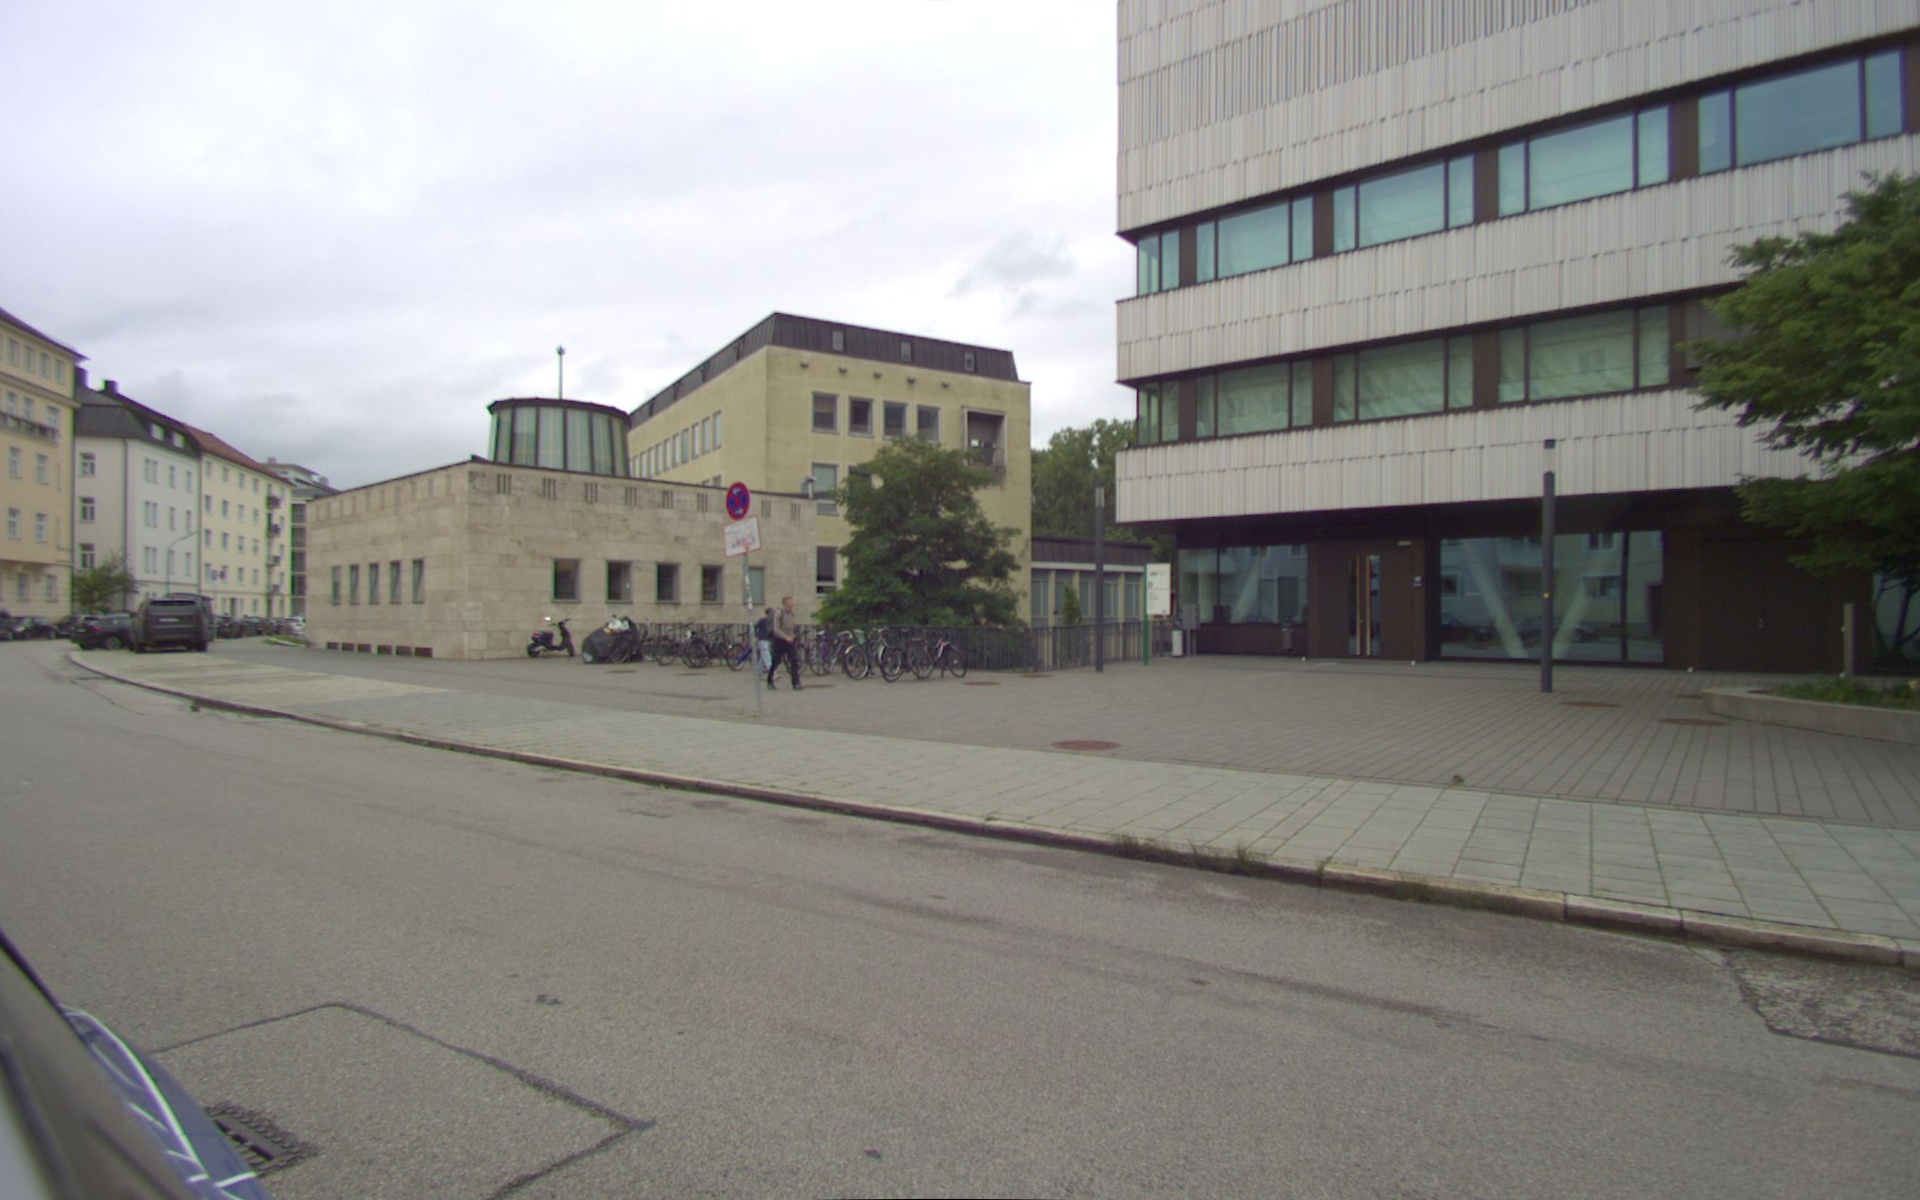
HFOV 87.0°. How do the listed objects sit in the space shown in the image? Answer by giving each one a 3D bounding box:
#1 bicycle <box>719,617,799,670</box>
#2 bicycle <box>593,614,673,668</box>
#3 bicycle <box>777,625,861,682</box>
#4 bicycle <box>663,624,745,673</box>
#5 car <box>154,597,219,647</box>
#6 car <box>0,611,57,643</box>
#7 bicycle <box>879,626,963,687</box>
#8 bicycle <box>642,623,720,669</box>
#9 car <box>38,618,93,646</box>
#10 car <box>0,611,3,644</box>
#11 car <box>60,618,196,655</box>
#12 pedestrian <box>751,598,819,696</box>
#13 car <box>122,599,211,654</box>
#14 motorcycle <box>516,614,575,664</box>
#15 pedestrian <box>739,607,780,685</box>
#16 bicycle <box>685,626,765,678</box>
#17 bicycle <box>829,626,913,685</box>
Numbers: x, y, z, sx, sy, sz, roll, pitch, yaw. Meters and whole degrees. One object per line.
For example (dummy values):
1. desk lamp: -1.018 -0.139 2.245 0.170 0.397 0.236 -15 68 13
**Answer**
1. bicycle: -4.645 0.990 23.494 0.614 1.119 2.031 -2 0 30
2. bicycle: -8.932 1.114 27.729 0.612 1.362 2.079 -2 0 37
3. bicycle: -3.118 1.165 22.553 0.615 1.119 2.028 -2 0 34
4. bicycle: -6.505 1.220 25.832 0.616 1.119 2.024 -2 0 41
5. car: -42.539 1.201 55.778 2.114 2.594 6.229 2 -2 -31
6. car: -53.726 1.517 57.811 1.811 1.743 3.741 -2 0 -18
7. bicycle: -0.778 1.137 20.753 0.615 1.119 2.028 -2 0 34
8. bicycle: -7.438 1.209 27.082 0.616 1.119 2.026 -2 0 37
9. car: -55.736 1.975 63.118 1.487 1.568 2.871 -2 0 -16
10. car: -51.458 1.478 52.583 1.812 1.812 4.249 -2 0 -34
11. car: -34.281 1.516 41.827 1.736 1.384 3.981 1 -2 19
12. pedestrian: -3.304 0.865 19.142 1.010 1.796 0.782 0 1 27
13. car: -27.858 0.918 35.468 1.970 1.785 4.818 1 -2 -44
14. motorcycle: -12.478 1.153 30.495 0.514 1.416 1.548 -2 0 39
15. pedestrian: -4.219 0.960 21.286 0.600 1.613 0.642 -2 0 13
16. bicycle: -5.593 1.220 24.237 0.614 1.119 2.031 -2 0 30
17. bicycle: -1.884 1.165 21.716 0.615 1.119 2.028 -2 0 34
